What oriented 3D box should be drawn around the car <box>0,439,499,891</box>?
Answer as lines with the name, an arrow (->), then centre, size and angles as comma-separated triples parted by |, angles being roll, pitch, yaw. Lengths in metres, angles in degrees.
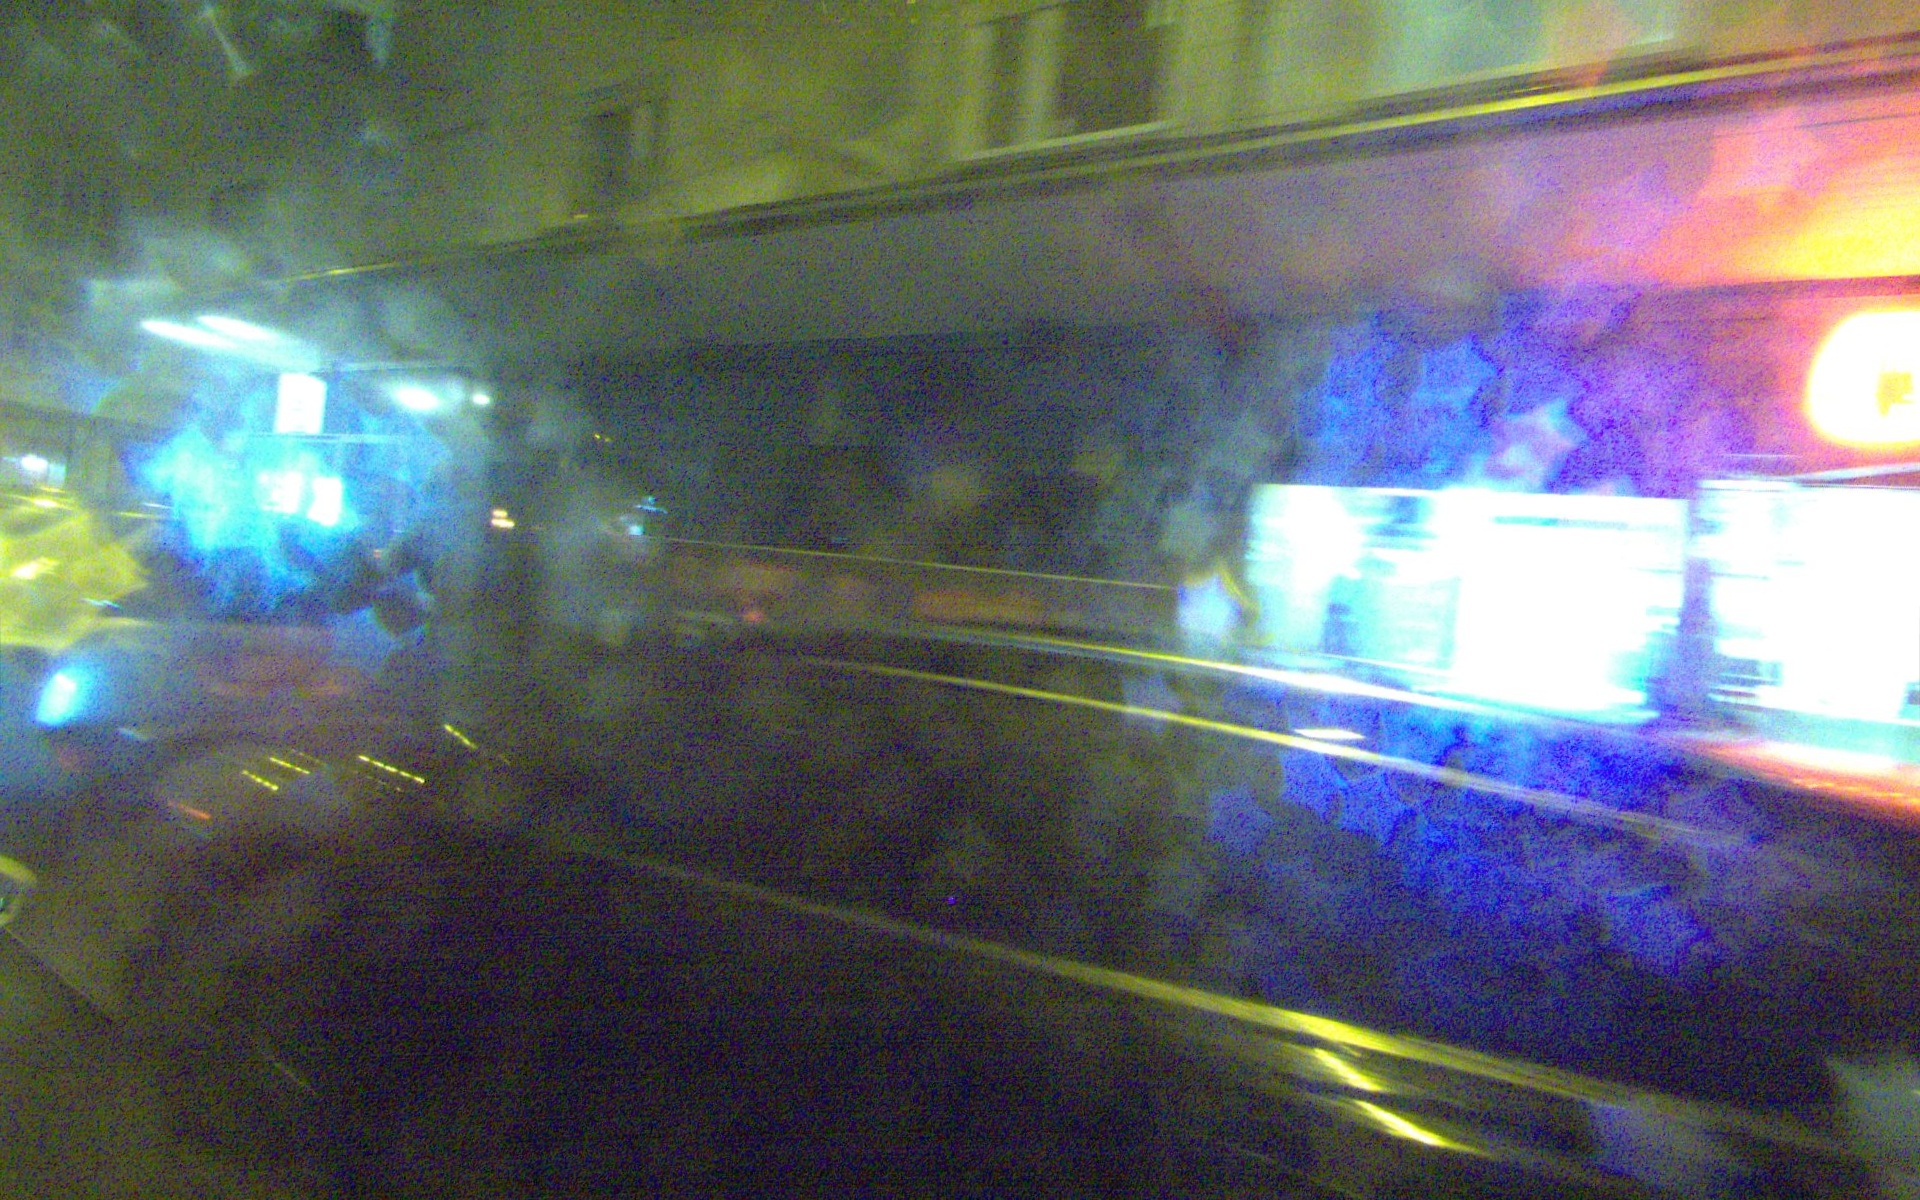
car -> -4.551, 0.142, 5.369 | 3.923, 1.627, 1.756 | 6, -1, 31

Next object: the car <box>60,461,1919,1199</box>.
car -> -0.057, 0.661, 2.363 | 4.325, 1.556, 1.756 | 6, -2, 31

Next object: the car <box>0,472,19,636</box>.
car -> -9.782, -0.479, 8.637 | 3.364, 1.561, 1.594 | 6, -1, 32
